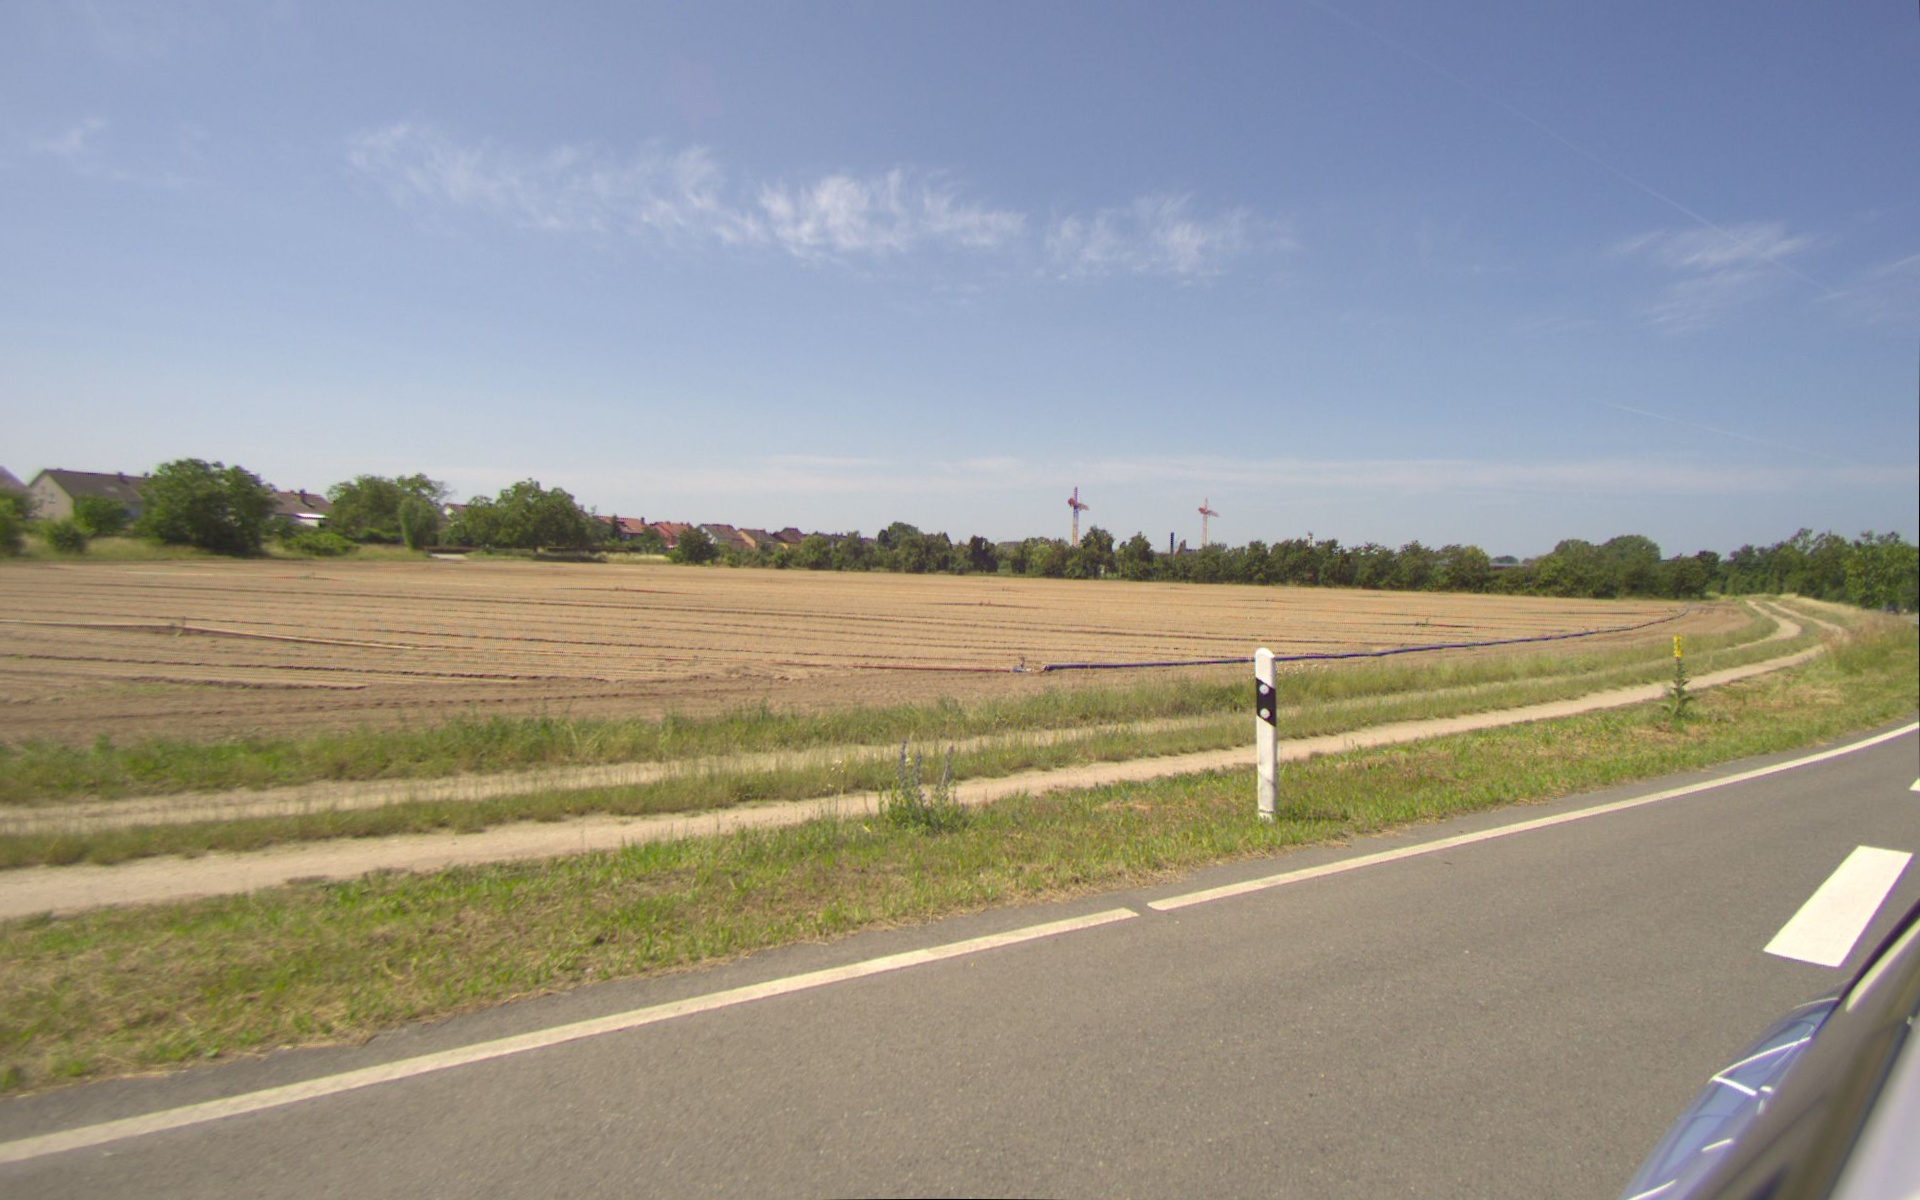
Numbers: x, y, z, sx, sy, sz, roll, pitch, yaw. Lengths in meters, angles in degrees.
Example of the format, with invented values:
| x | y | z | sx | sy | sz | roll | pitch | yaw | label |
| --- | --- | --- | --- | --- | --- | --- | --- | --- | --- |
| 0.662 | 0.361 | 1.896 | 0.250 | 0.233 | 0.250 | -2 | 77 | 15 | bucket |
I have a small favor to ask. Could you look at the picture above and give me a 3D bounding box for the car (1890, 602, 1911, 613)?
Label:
| x | y | z | sx | sy | sz | roll | pitch | yaw | label |
| --- | --- | --- | --- | --- | --- | --- | --- | --- | --- |
| 124.576 | 0.952 | 134.068 | 1.689 | 1.379 | 3.774 | 1 | 1 | 38 | car |
